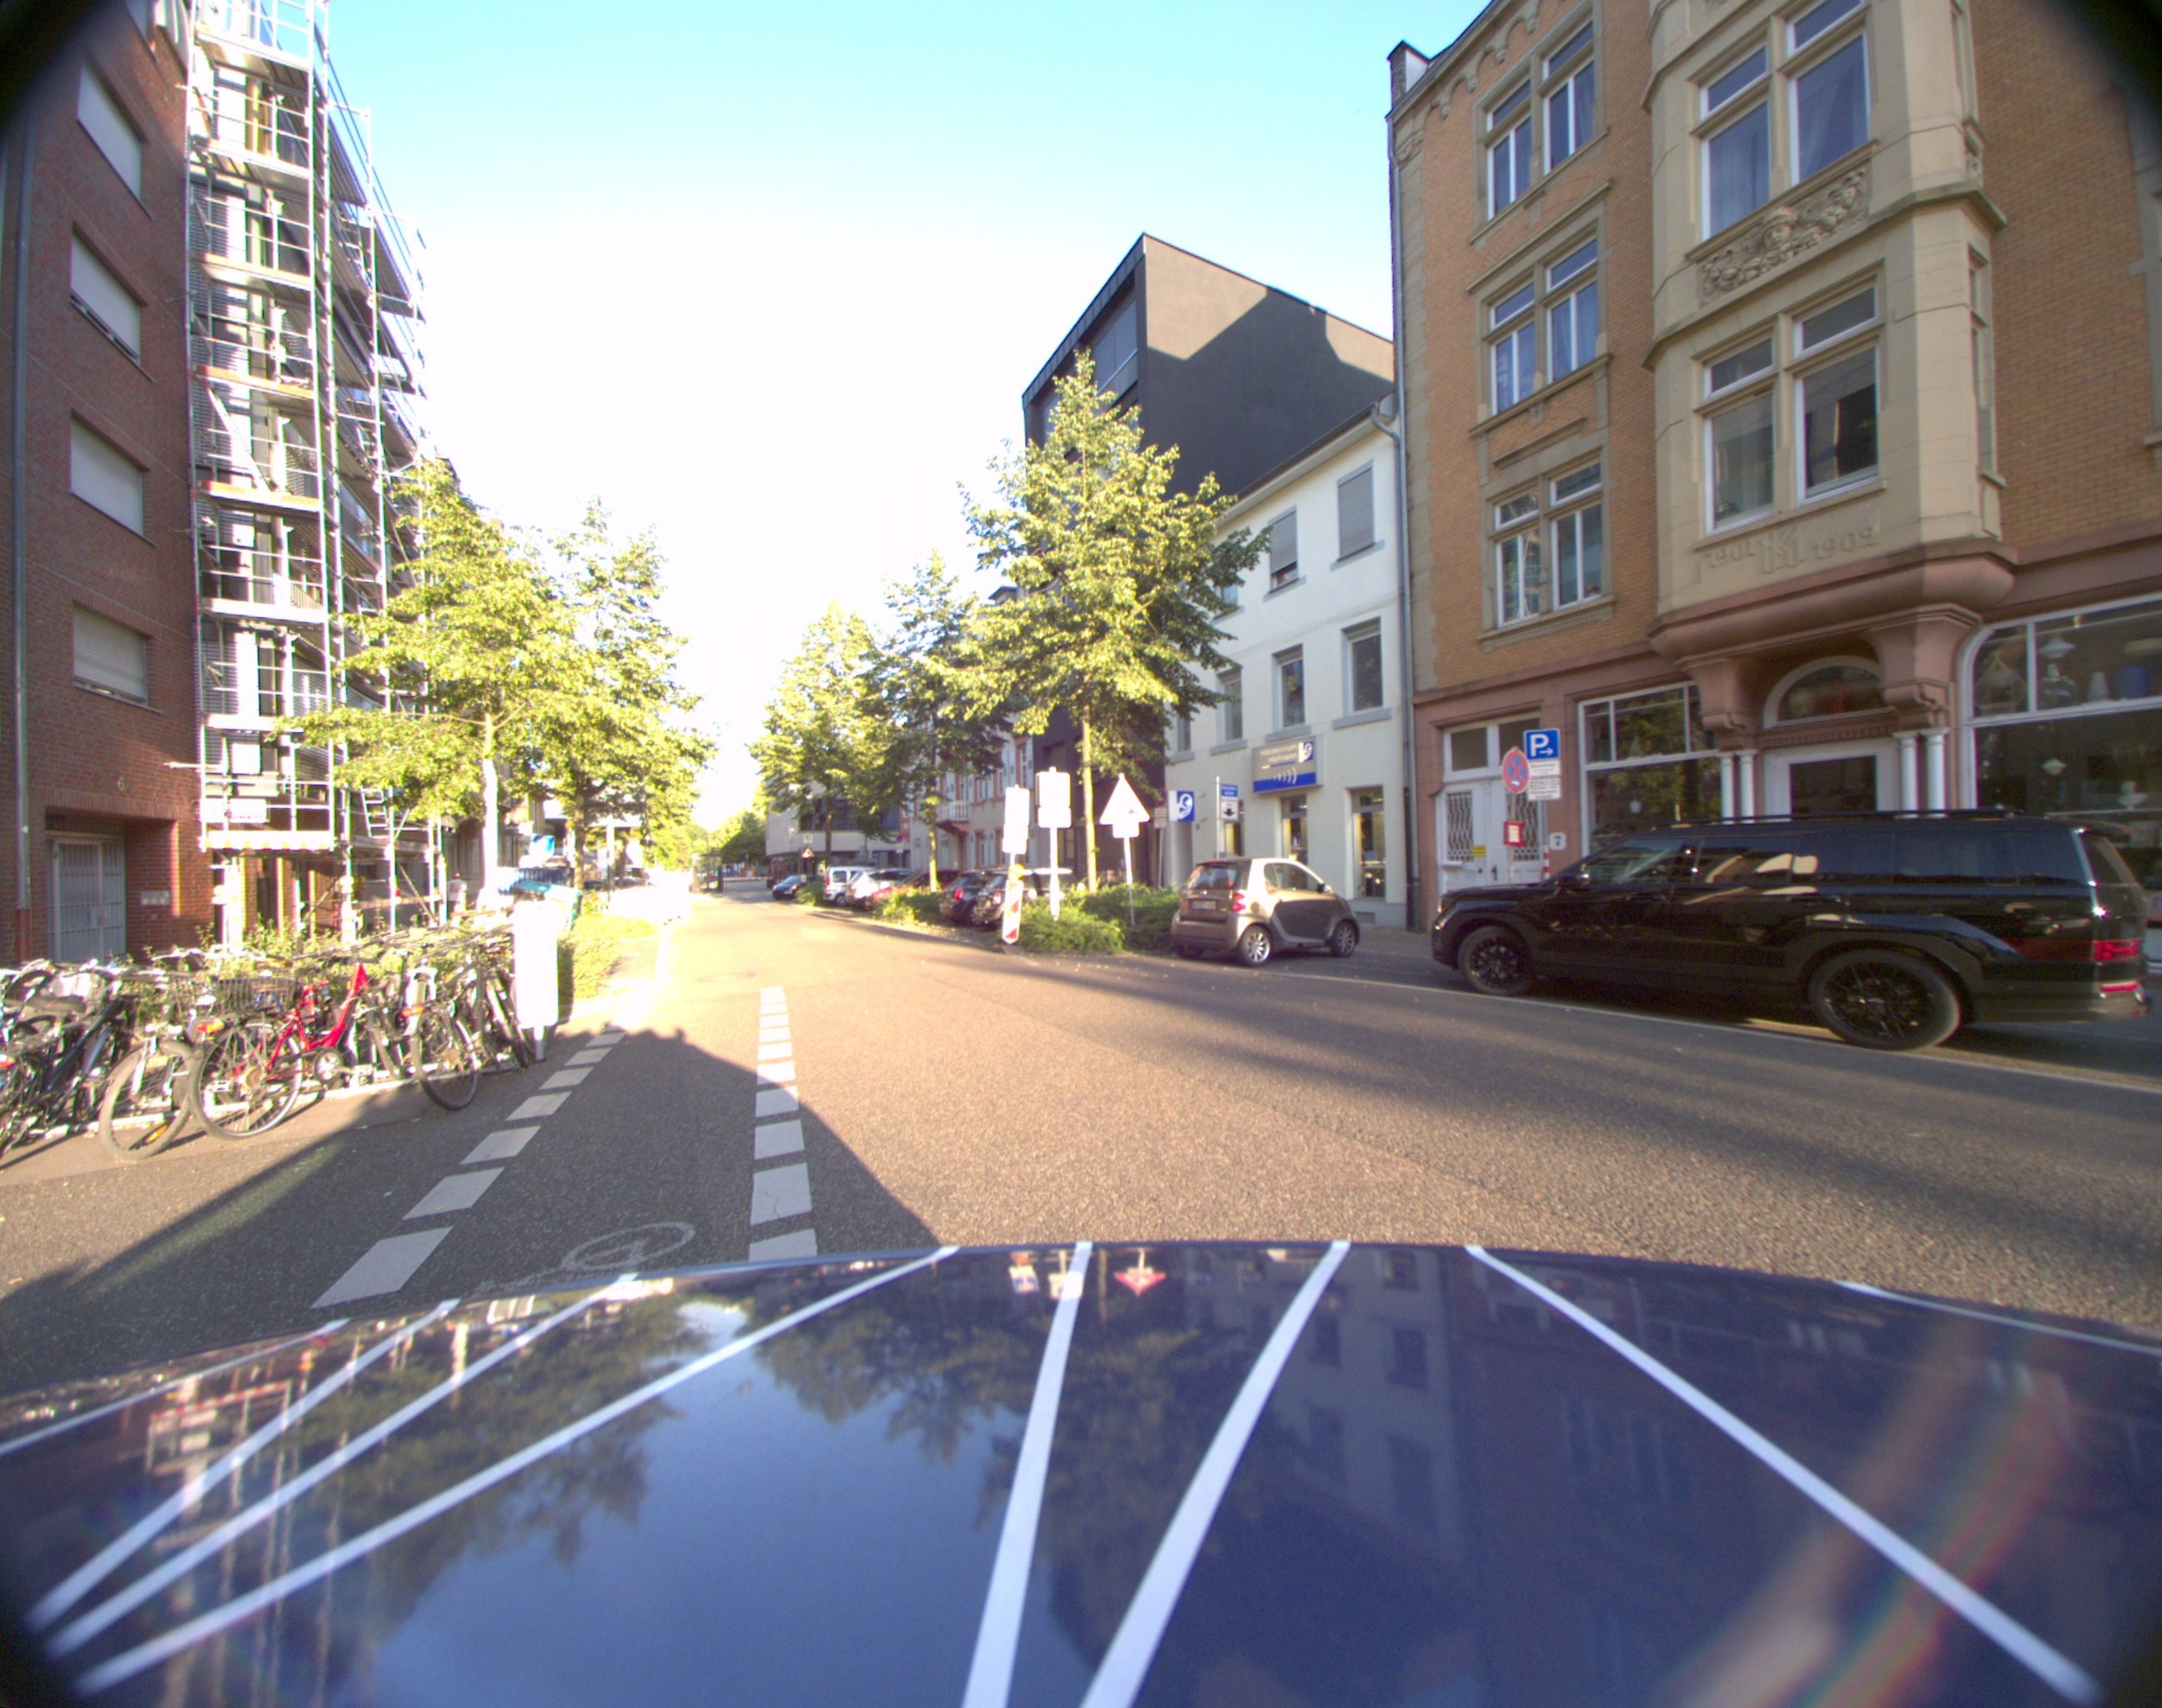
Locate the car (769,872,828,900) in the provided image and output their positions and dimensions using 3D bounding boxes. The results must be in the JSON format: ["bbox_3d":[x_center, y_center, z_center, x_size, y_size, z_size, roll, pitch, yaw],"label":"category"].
[{"bbox_3d":[-16.567,1.860,44.721,1.856,1.558,3.699,0,-1,5],"label":"car"}]

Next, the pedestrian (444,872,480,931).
[{"bbox_3d":[-19.300,1.463,23.703,0.745,1.773,0.655,-2,0,-30],"label":"pedestrian"}]

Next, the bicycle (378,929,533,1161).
[{"bbox_3d":[-4.223,1.192,5.230,0.499,1.213,1.549,-1,0,-28],"label":"bicycle"}]

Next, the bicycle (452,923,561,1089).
[{"bbox_3d":[-5.037,1.262,6.737,0.509,1.172,1.549,-1,0,-28],"label":"bicycle"}]

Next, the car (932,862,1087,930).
[{"bbox_3d":[-1.901,1.073,20.394,3.703,1.660,1.854,1,-1,-30],"label":"car"}]

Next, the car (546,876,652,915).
[{"bbox_3d":[-22.675,1.921,35.915,4.005,1.674,1.887,-1,0,-26],"label":"car"}]

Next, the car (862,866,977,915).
[{"bbox_3d":[-5.840,1.288,27.571,3.703,1.660,1.854,1,-1,-30],"label":"car"}]

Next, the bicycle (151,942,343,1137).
[{"bbox_3d":[-6.385,1.341,5.908,0.489,1.143,1.549,-1,0,-28],"label":"bicycle"}]

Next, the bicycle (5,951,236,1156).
[{"bbox_3d":[-7.056,1.381,5.676,0.469,1.137,1.549,-1,0,-28],"label":"bicycle"}]

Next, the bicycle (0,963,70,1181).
[{"bbox_3d":[-6.257,1.274,4.060,0.388,1.182,1.549,-1,0,-28],"label":"bicycle"}]

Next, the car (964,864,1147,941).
[{"bbox_3d":[-0.582,1.082,18.287,4.015,1.660,1.854,1,-1,-30],"label":"car"}]

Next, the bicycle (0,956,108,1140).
[{"bbox_3d":[-7.653,1.373,5.296,0.459,1.125,1.549,-1,0,-28],"label":"bicycle"}]

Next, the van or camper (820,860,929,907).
[{"bbox_3d":[-9.324,1.297,34.399,4.462,1.993,1.854,1,-1,-30],"label":"van or camper"}]

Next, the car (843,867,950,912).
[{"bbox_3d":[-7.201,1.345,29.766,3.703,1.660,1.854,1,-1,-30],"label":"car"}]

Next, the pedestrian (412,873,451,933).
[{"bbox_3d":[-19.794,1.481,23.168,0.744,1.773,0.655,-2,0,-28],"label":"pedestrian"}]

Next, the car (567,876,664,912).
[{"bbox_3d":[-23.467,1.984,38.520,4.005,1.674,1.887,-1,0,-26],"label":"car"}]

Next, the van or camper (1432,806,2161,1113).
[{"bbox_3d":[5.800,0.655,6.832,1.899,1.797,4.450,0,-1,-34],"label":"van or camper"}]

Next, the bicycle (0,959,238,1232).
[{"bbox_3d":[-5.574,1.278,4.412,0.382,1.153,1.549,-1,0,-28],"label":"bicycle"}]

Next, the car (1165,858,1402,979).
[{"bbox_3d":[3.163,0.884,11.728,3.487,1.566,1.504,-1,0,-31],"label":"car"}]

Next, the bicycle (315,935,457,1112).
[{"bbox_3d":[-5.772,1.330,6.393,0.489,1.156,1.549,-1,0,-28],"label":"bicycle"}]

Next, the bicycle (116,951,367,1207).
[{"bbox_3d":[-5.104,1.268,4.738,0.419,1.150,1.549,-1,0,-23],"label":"bicycle"}]
